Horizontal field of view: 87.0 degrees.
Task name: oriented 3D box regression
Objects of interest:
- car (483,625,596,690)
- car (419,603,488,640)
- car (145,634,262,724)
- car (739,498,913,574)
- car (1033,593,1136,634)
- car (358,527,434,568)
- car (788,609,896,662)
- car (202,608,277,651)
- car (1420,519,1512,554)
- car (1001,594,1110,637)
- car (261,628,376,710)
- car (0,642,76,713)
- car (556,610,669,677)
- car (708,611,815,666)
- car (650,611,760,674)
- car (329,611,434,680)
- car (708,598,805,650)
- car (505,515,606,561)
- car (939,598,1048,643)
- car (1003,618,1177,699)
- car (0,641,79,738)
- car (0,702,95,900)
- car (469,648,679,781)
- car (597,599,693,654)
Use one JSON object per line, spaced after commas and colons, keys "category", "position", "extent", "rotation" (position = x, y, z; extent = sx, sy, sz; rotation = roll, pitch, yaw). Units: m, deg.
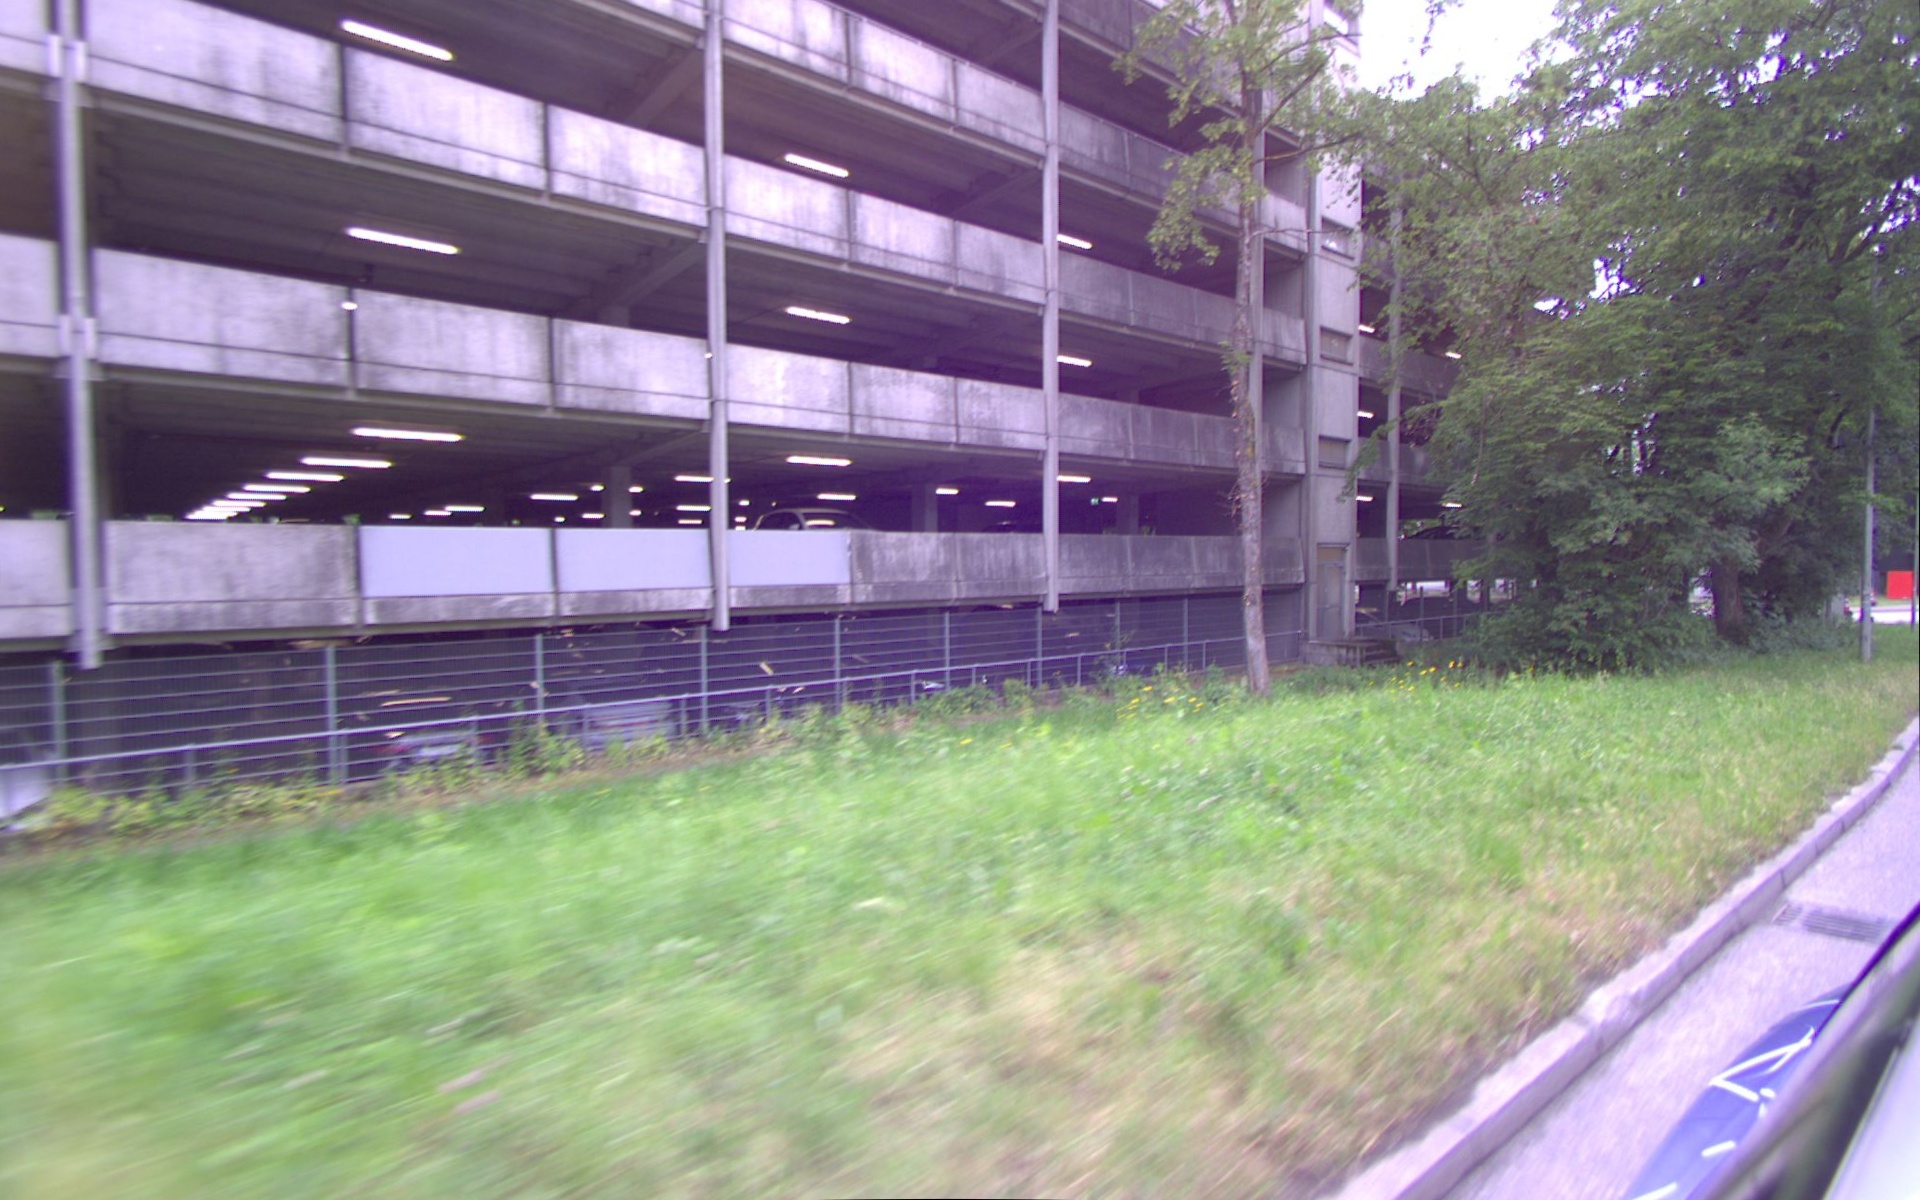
{"category": "car", "position": [-11.200, 1.467, 26.828], "extent": [1.645, 1.299, 3.668], "rotation": [-2, 4, -42]}
{"category": "car", "position": [-20.432, 0.838, 40.770], "extent": [1.668, 1.284, 3.520], "rotation": [-2, 3, -41]}
{"category": "car", "position": [-16.493, 1.640, 22.000], "extent": [1.645, 1.458, 3.667], "rotation": [-2, 4, -43]}
{"category": "car", "position": [-2.753, -1.244, 20.154], "extent": [1.799, 1.360, 3.844], "rotation": [-1, 3, -37]}
{"category": "car", "position": [5.107, 0.515, 41.831], "extent": [1.795, 1.506, 4.065], "rotation": [-1, 2, -42]}
{"category": "car", "position": [-21.469, -1.973, 38.440], "extent": [1.828, 1.444, 4.189], "rotation": [-4, 4, -38]}
{"category": "car", "position": [-3.859, 1.100, 32.687], "extent": [1.645, 1.367, 3.668], "rotation": [-2, 4, -42]}
{"category": "car", "position": [-25.551, 1.008, 35.861], "extent": [1.669, 1.284, 3.518], "rotation": [0, 2, -44]}
{"category": "car", "position": [19.606, -2.464, 39.267], "extent": [1.333, 1.262, 2.893], "rotation": [-4, 4, -41]}
{"category": "car", "position": [3.664, 0.557, 39.219], "extent": [1.795, 1.433, 4.065], "rotation": [-1, 2, -42]}
{"category": "car", "position": [-15.075, 1.536, 23.721], "extent": [1.645, 1.458, 3.667], "rotation": [-2, 4, -43]}
{"category": "car", "position": [-21.791, 1.772, 23.832], "extent": [1.418, 1.349, 3.130], "rotation": [-2, 2, -42]}
{"category": "car", "position": [-9.649, 1.143, 27.981], "extent": [1.645, 1.497, 3.668], "rotation": [-2, 4, -42]}
{"category": "car", "position": [-6.215, 1.143, 31.469], "extent": [1.645, 1.367, 3.668], "rotation": [-2, 4, -42]}
{"category": "car", "position": [-7.537, 1.188, 29.738], "extent": [1.645, 1.500, 3.668], "rotation": [-2, 4, -42]}
{"category": "car", "position": [-16.453, 1.227, 28.715], "extent": [1.759, 1.563, 3.697], "rotation": [-3, 4, -43]}
{"category": "car", "position": [-7.333, 0.816, 36.318], "extent": [1.759, 1.563, 3.697], "rotation": [-3, 4, -43]}
{"category": "car", "position": [-12.894, -1.956, 32.139], "extent": [1.651, 1.343, 3.992], "rotation": [-4, 4, -42]}
{"category": "car", "position": [1.209, 0.716, 37.859], "extent": [1.795, 1.470, 4.065], "rotation": [-1, 2, -42]}
{"category": "car", "position": [3.116, 1.350, 24.813], "extent": [1.832, 1.551, 3.993], "rotation": [-1, 3, -42]}
{"category": "car", "position": [-18.786, 1.737, 20.227], "extent": [1.644, 1.458, 3.671], "rotation": [-2, 4, -40]}
{"category": "car", "position": [-11.703, 2.324, 12.098], "extent": [1.917, 1.524, 4.261], "rotation": [-2, 4, -42]}
{"category": "car", "position": [-6.713, 1.803, 17.299], "extent": [1.914, 1.525, 4.599], "rotation": [-1, 3, -41]}
{"category": "car", "position": [-10.384, 0.816, 33.275], "extent": [1.645, 1.500, 3.668], "rotation": [-2, 4, -42]}
